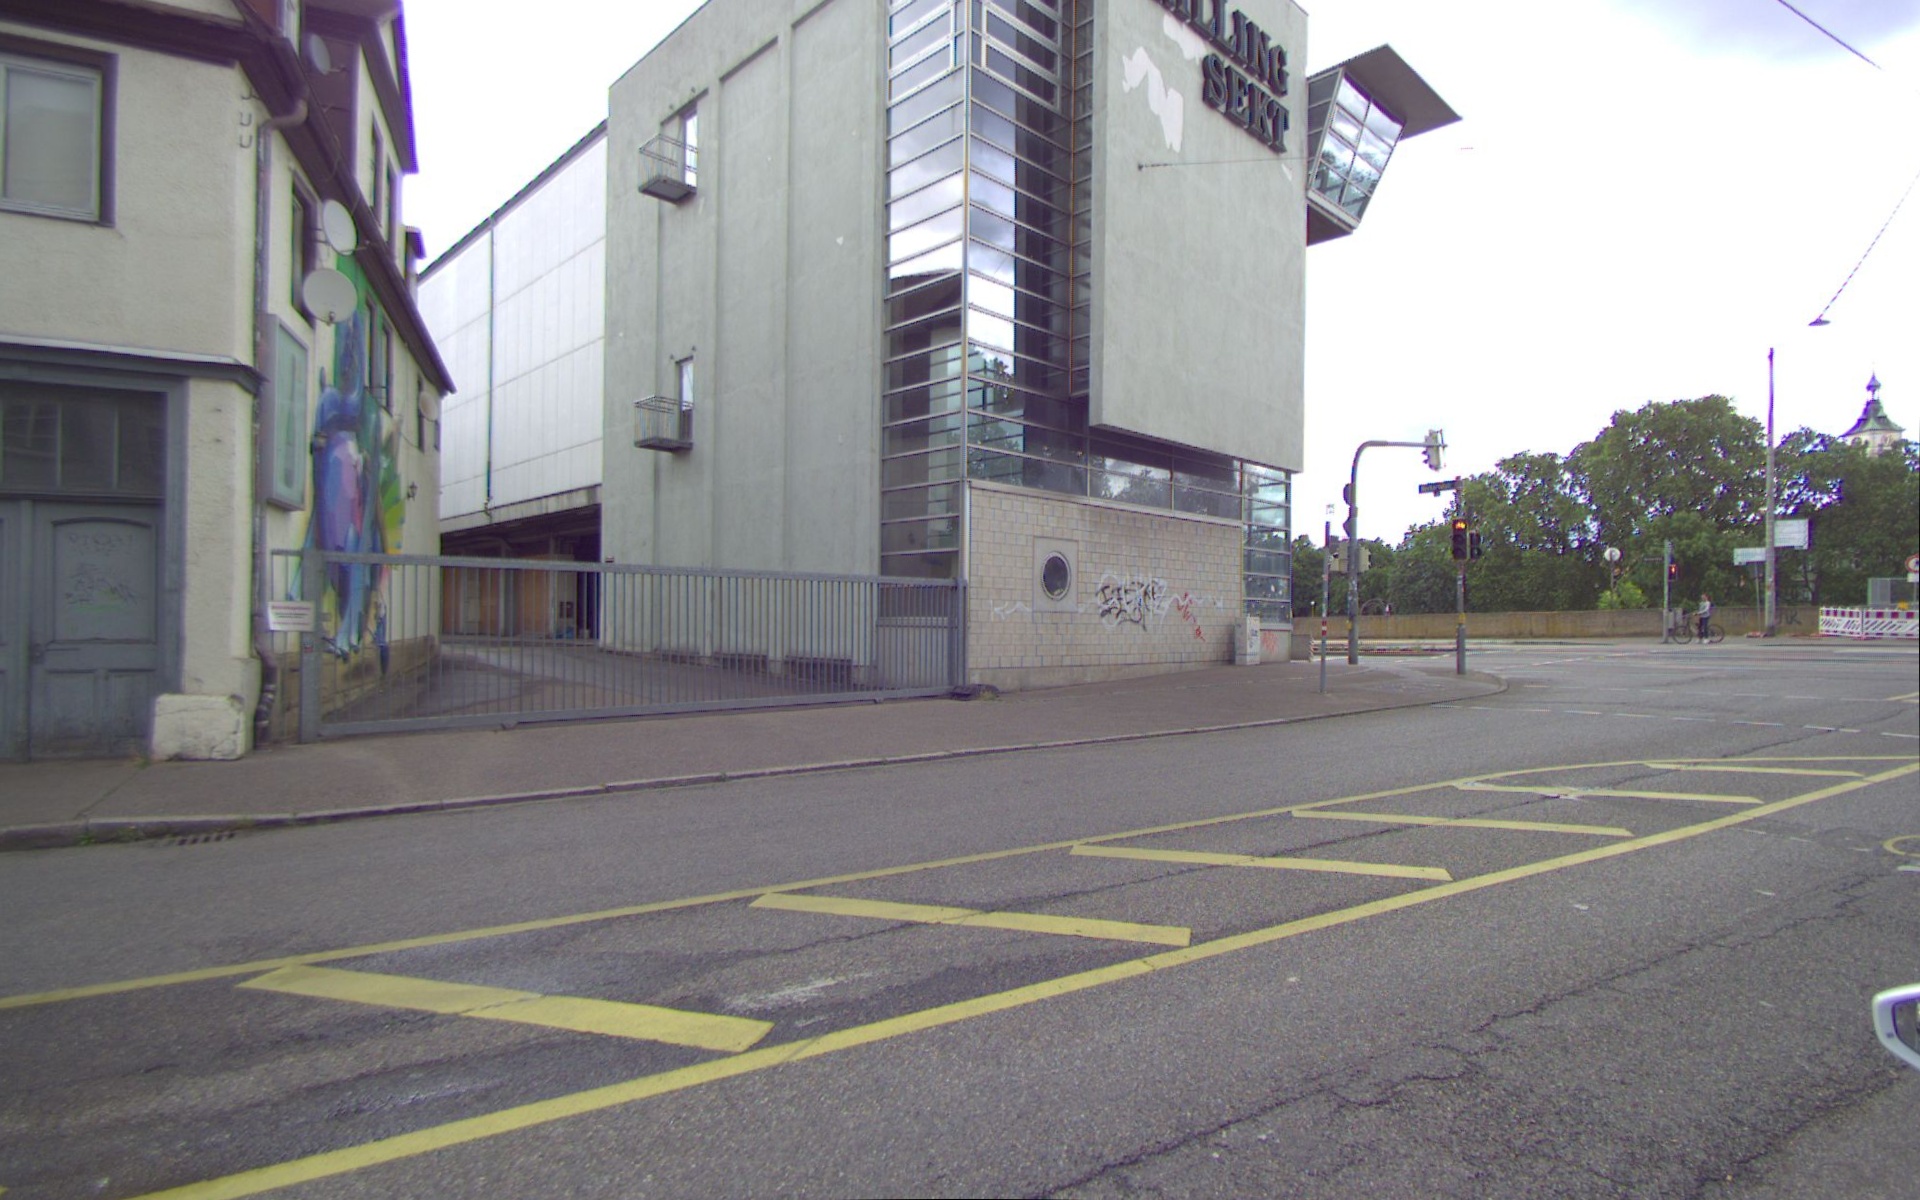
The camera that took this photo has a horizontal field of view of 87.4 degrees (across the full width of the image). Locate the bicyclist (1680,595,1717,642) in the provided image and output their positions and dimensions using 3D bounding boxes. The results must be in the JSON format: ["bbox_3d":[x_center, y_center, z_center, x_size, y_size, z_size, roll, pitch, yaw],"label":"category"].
[{"bbox_3d":[28.584,0.707,38.898,0.985,1.767,0.755,0,0,19],"label":"bicyclist"}]

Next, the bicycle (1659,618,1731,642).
[{"bbox_3d":[28.482,1.156,38.948,2.096,0.904,0.760,-1,0,20],"label":"bicycle"}]
